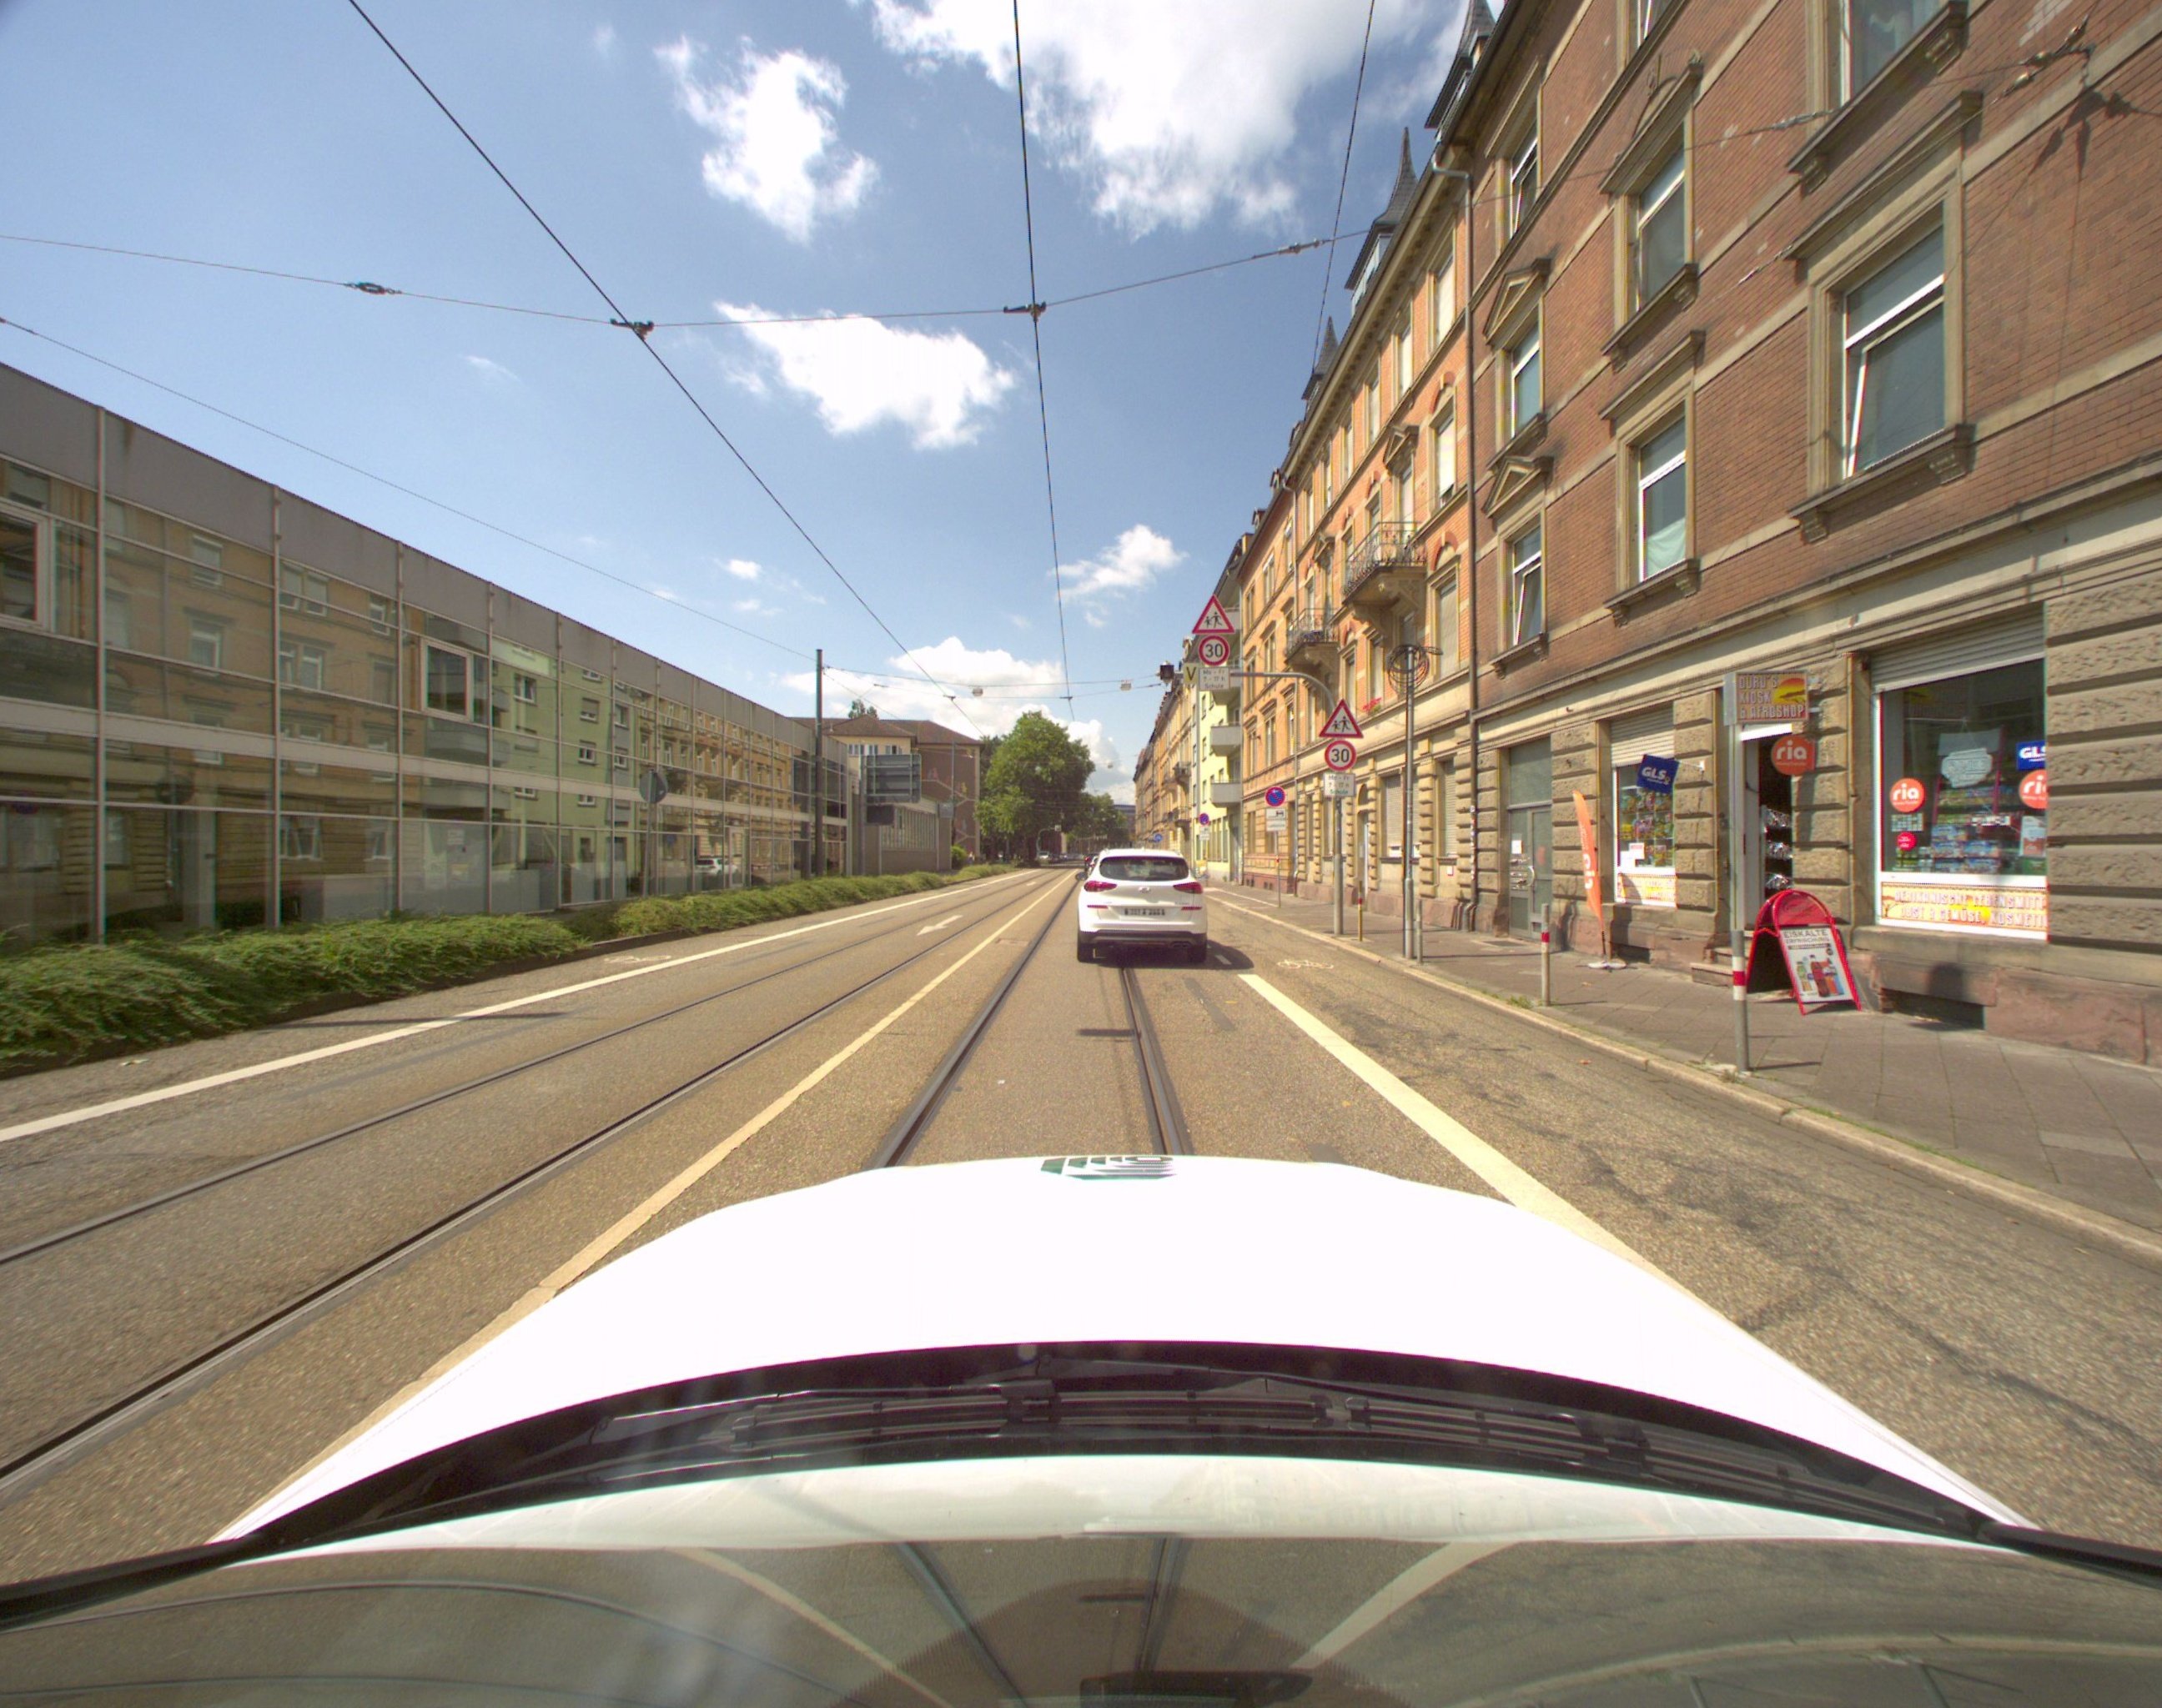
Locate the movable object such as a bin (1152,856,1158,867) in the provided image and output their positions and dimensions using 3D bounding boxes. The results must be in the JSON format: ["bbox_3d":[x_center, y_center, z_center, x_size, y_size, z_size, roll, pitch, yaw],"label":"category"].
[{"bbox_3d":[8.239,0.823,91.145,0.610,1.143,0.639,0,0,1],"label":"movable object such as a bin"}]

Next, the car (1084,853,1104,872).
[{"bbox_3d":[1.178,0.754,75.648,1.808,1.661,4.086,0,0,1],"label":"car"}]

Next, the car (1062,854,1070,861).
[{"bbox_3d":[-3.456,0.875,191.330,1.944,1.632,3.998,0,0,-1],"label":"car"}]

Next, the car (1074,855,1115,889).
[{"bbox_3d":[0.690,0.815,38.680,1.807,1.524,4.087,-1,0,2],"label":"car"}]

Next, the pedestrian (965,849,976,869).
[{"bbox_3d":[-10.695,0.508,78.988,0.877,1.865,1.081,-1,0,1],"label":"pedestrian"}]

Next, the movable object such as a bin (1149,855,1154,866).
[{"bbox_3d":[8.006,0.735,92.579,0.610,1.143,0.639,0,0,1],"label":"movable object such as a bin"}]

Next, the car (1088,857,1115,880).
[{"bbox_3d":[1.394,0.958,56.617,1.808,1.524,3.956,0,0,1],"label":"car"}]

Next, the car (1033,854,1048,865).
[{"bbox_3d":[-6.002,0.764,121.074,1.943,1.632,4.576,0,0,1],"label":"car"}]

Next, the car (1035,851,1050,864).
[{"bbox_3d":[-5.957,0.514,127.077,1.943,1.895,4.566,0,0,1],"label":"car"}]

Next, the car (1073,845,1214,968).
[{"bbox_3d":[0.822,0.707,13.062,1.847,1.634,4.178,1,0,-1],"label":"car"}]
